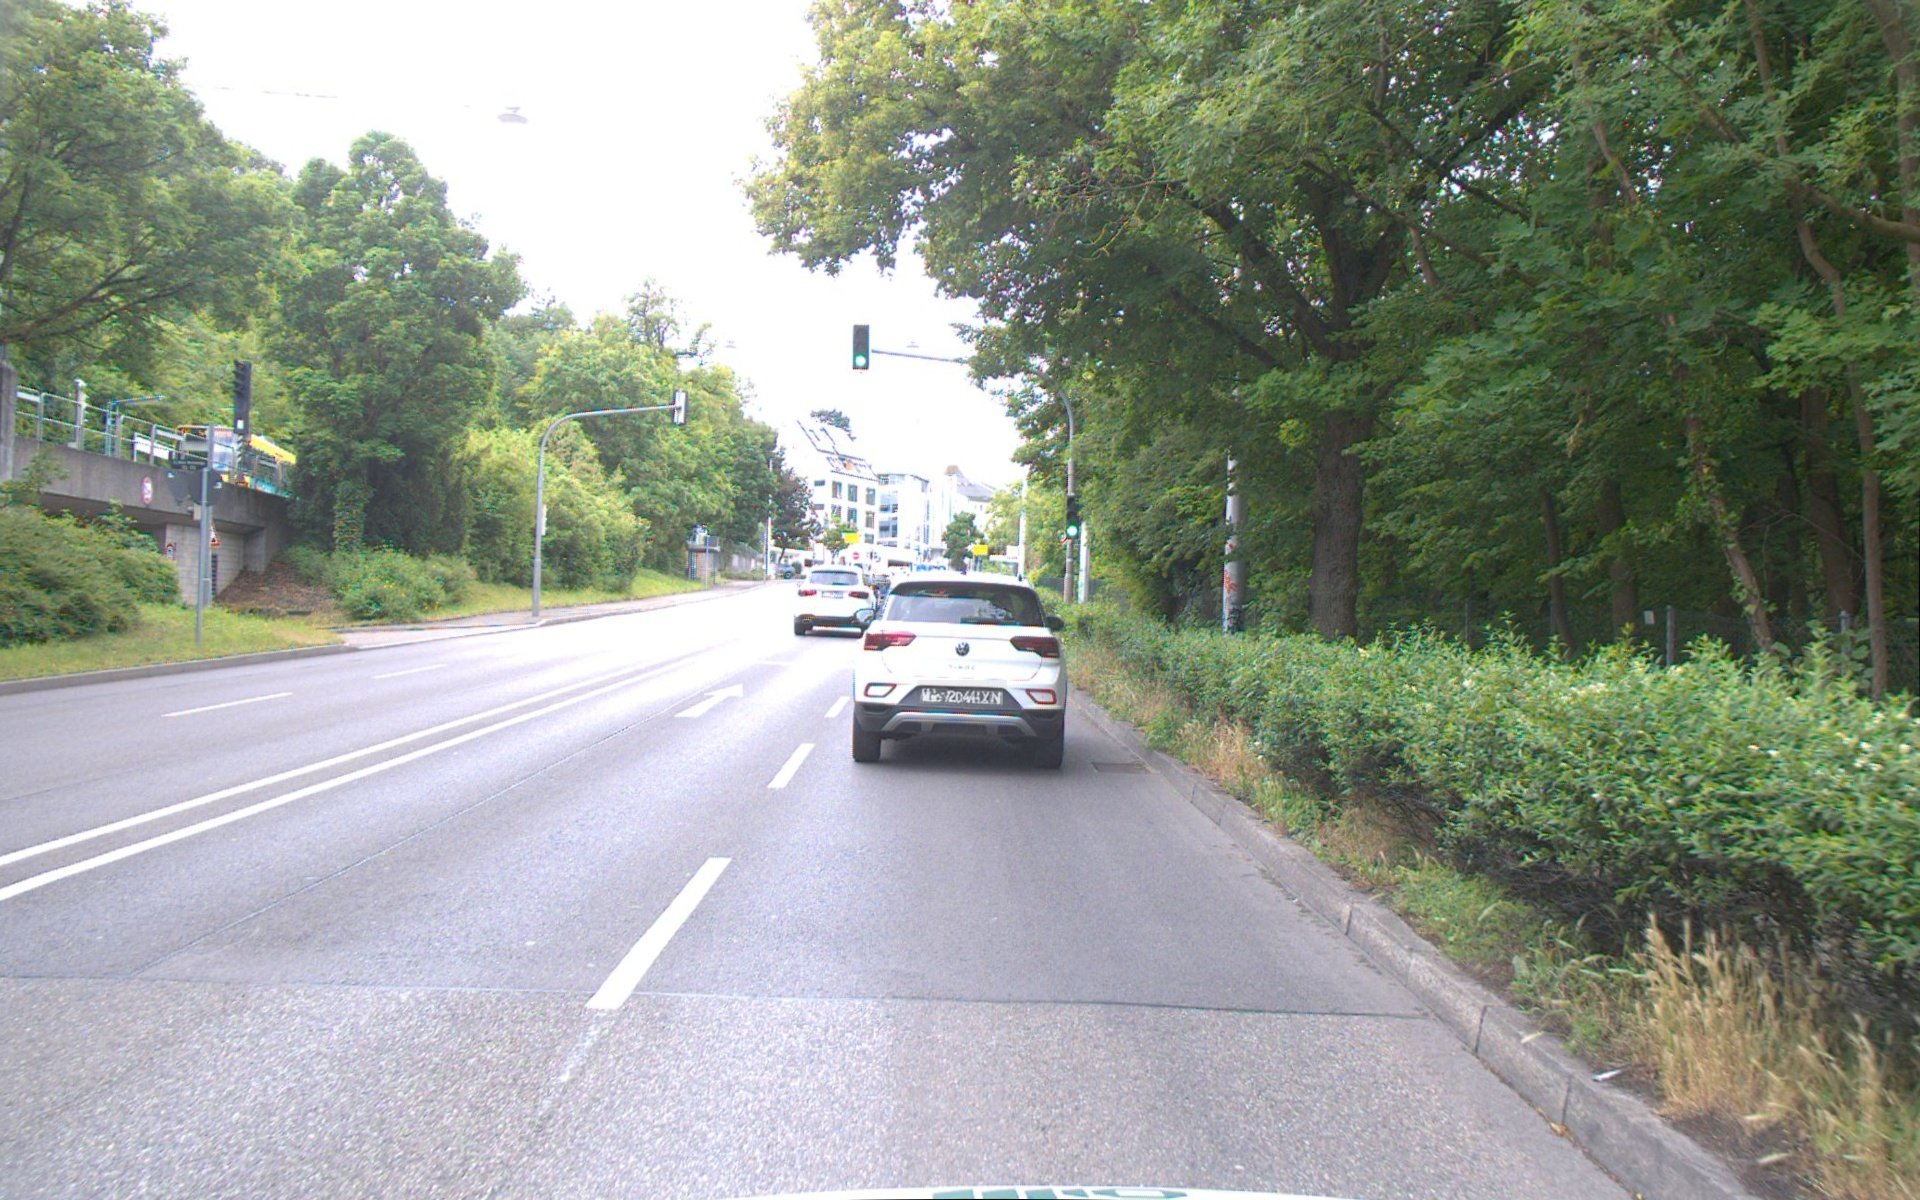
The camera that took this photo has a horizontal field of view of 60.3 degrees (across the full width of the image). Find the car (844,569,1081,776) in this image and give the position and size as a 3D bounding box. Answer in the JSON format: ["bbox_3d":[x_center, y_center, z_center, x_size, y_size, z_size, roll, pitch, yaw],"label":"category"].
[{"bbox_3d":[-0.017,0.527,14.766,1.792,1.552,4.000,2,1,-1],"label":"car"}]

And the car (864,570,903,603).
[{"bbox_3d":[-3.746,-0.676,81.831,1.792,1.552,4.000,1,1,-1],"label":"car"}]

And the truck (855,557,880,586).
[{"bbox_3d":[-10.223,-3.118,183.437,2.246,3.104,6.979,1,1,0],"label":"truck"}]

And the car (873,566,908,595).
[{"bbox_3d":[-3.800,-1.110,91.323,1.792,1.552,4.000,1,1,-1],"label":"car"}]

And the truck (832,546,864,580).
[{"bbox_3d":[-9.014,-2.979,133.423,2.314,2.753,4.477,0,1,-1],"label":"truck"}]

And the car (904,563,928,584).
[{"bbox_3d":[-3.392,-2.088,128.490,1.792,1.552,4.000,1,1,-1],"label":"car"}]

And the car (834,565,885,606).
[{"bbox_3d":[-3.833,-0.578,63.572,1.792,1.523,4.000,1,1,-1],"label":"car"}]

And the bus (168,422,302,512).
[{"bbox_3d":[-28.450,-5.148,65.280,2.492,2.838,7.933,1,0,-6],"label":"bus"}]

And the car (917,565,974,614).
[{"bbox_3d":[-0.492,-0.377,55.032,1.792,1.552,4.000,1,1,-1],"label":"car"}]

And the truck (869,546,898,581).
[{"bbox_3d":[-6.377,-3.040,138.125,2.314,2.830,4.477,0,1,-1],"label":"truck"}]

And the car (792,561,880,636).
[{"bbox_3d":[-2.955,-0.064,40.063,1.879,1.698,4.000,1,1,-1],"label":"car"}]

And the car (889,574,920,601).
[{"bbox_3d":[-3.319,-0.775,99.178,1.792,1.552,4.000,1,1,-1],"label":"car"}]
